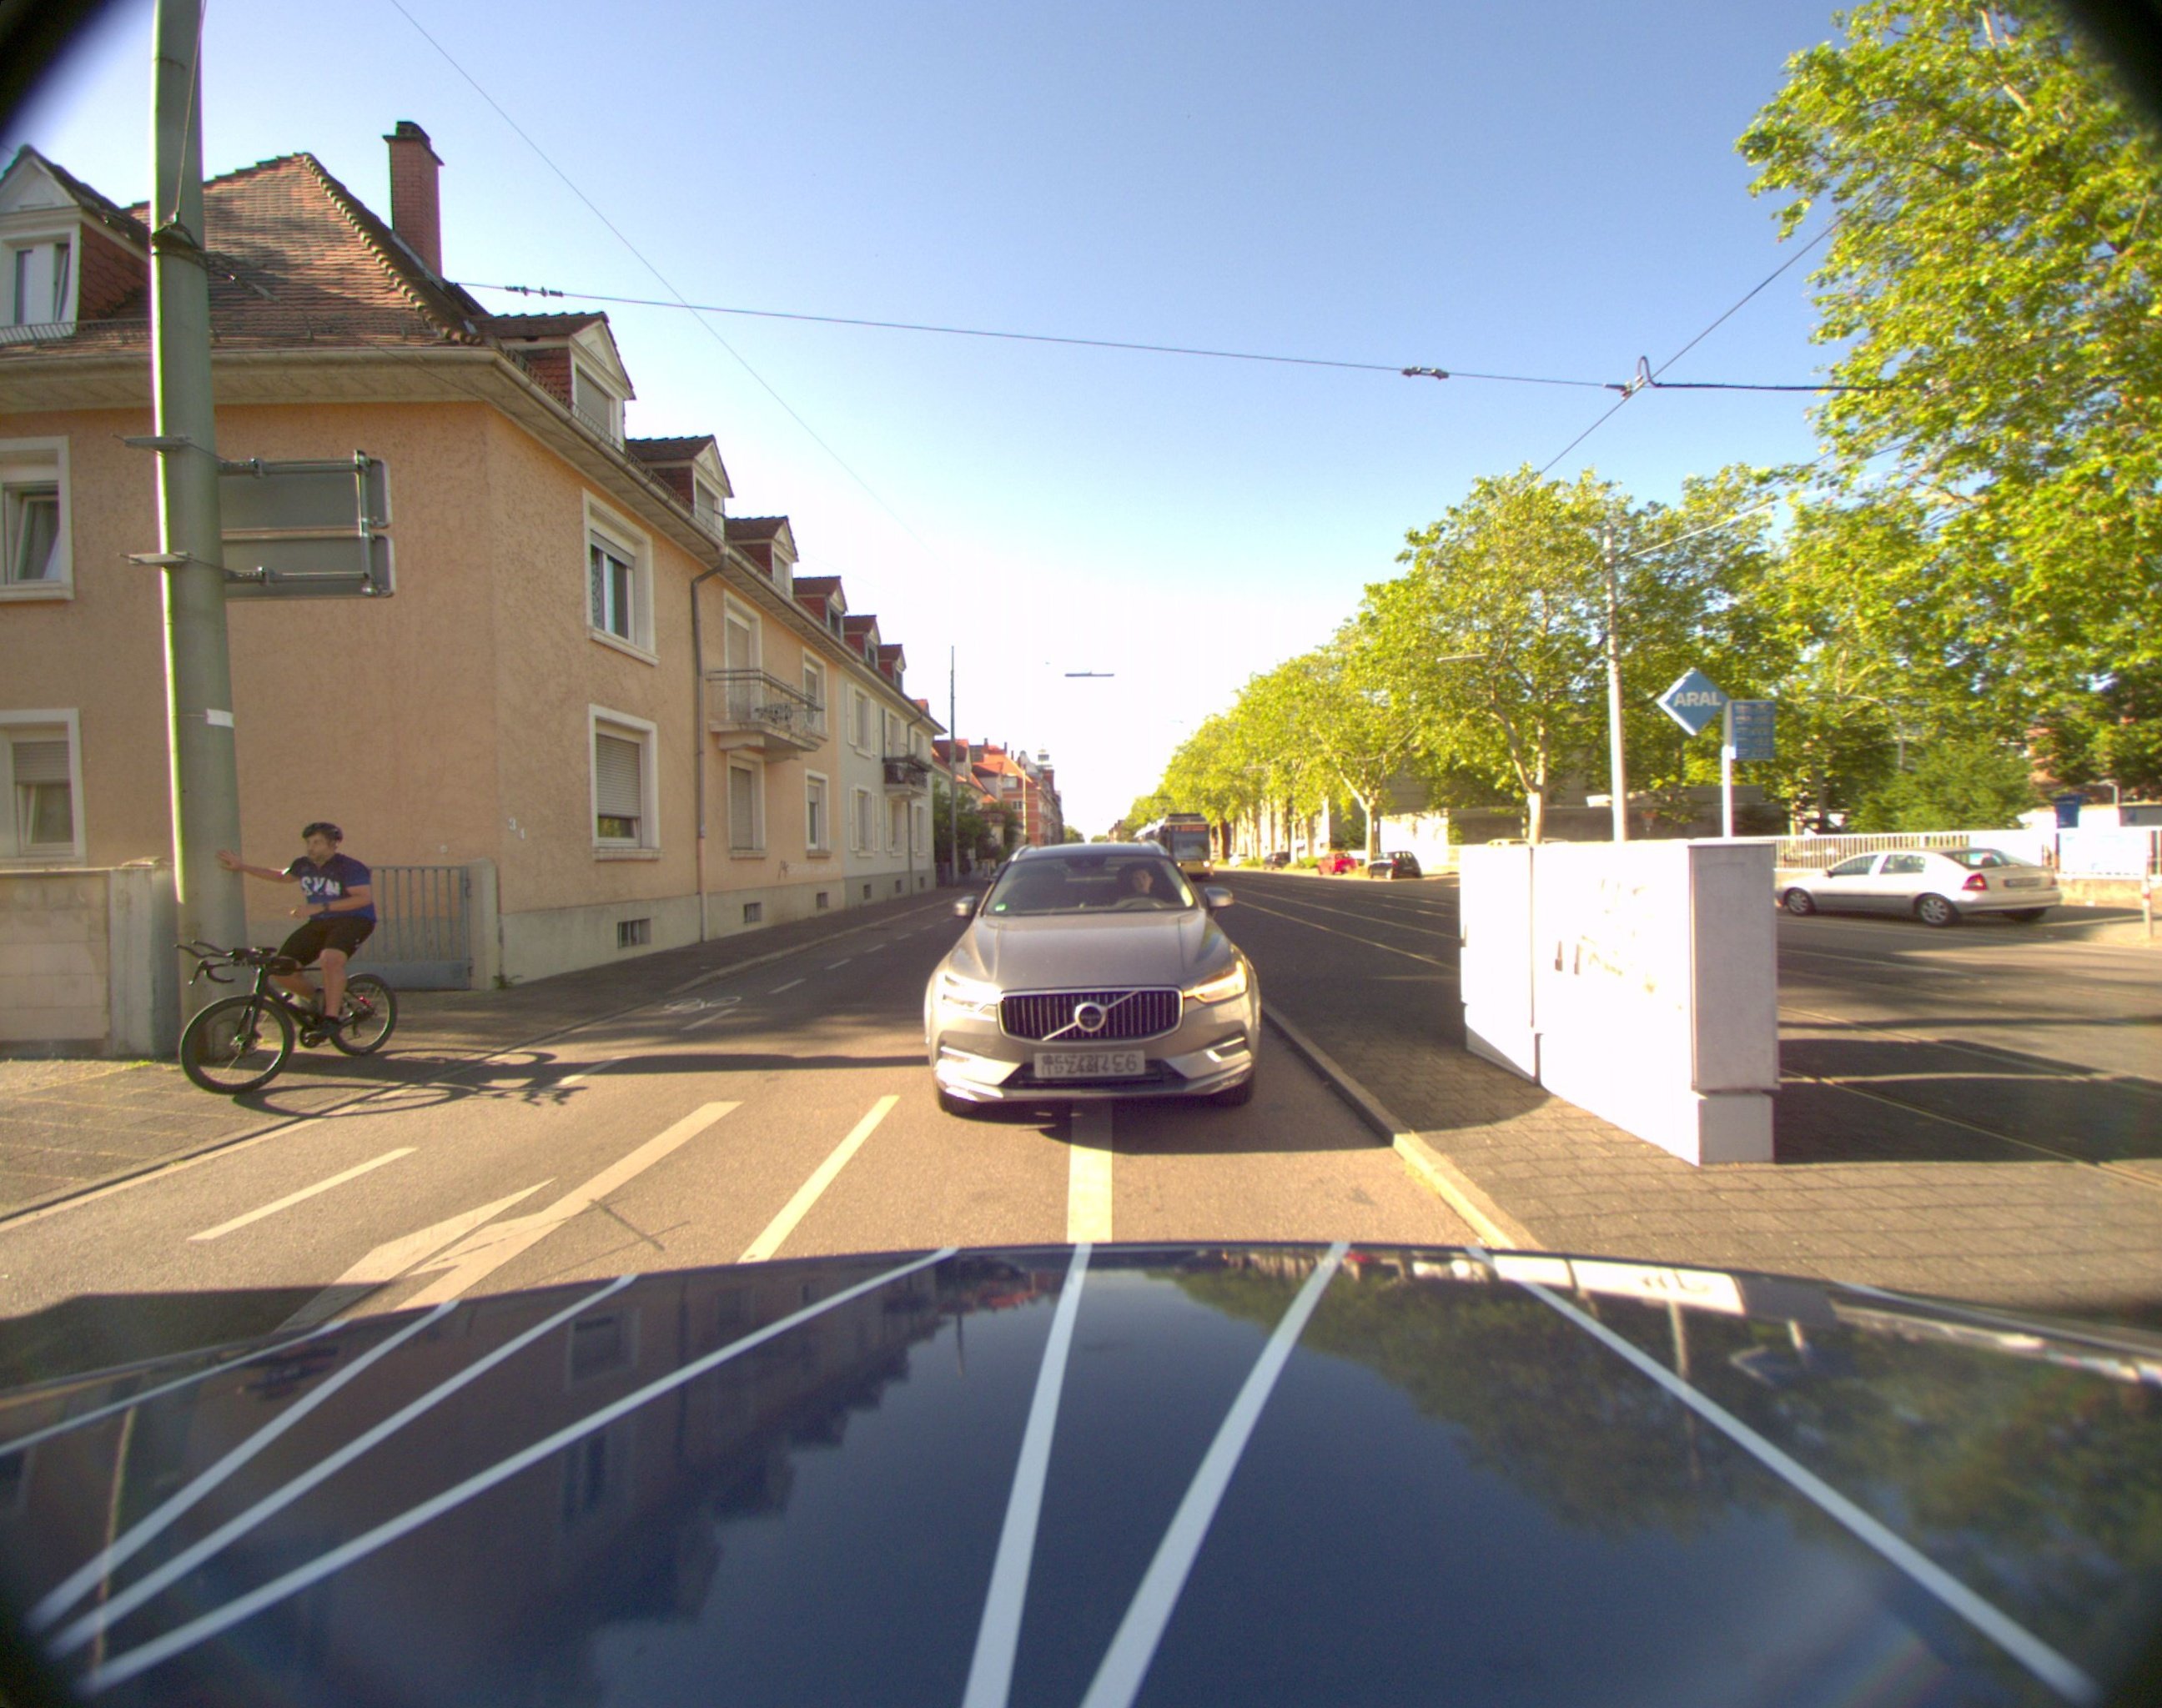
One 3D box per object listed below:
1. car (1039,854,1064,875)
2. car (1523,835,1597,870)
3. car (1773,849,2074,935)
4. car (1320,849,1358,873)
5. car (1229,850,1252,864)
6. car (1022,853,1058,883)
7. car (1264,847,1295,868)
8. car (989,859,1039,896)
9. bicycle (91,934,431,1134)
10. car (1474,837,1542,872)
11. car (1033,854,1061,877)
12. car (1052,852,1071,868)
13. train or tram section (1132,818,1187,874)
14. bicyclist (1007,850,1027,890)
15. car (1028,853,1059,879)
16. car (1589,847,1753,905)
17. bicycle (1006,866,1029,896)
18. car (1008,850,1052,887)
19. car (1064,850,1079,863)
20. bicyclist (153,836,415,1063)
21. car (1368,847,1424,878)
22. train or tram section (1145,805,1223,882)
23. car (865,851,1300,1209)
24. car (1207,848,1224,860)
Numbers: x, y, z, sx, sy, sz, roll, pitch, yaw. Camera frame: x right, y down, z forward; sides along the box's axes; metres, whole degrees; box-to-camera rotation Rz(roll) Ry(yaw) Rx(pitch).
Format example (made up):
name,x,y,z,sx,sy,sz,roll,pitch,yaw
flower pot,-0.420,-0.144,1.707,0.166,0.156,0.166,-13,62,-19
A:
name,x,y,z,sx,sy,sz,roll,pitch,yaw
car,-2.540,0.870,67.077,1.793,1.673,3.814,-3,0,2
car,23.889,-0.073,38.026,1.599,1.583,3.304,-2,0,1
car,16.233,0.646,14.982,1.695,1.395,3.813,-3,0,1
car,16.887,0.444,49.867,1.599,1.498,2.622,-3,0,1
car,17.476,0.305,83.544,1.695,1.440,3.749,-3,0,1
car,-2.575,0.862,48.487,1.793,1.673,3.814,-3,0,2
car,17.149,0.285,65.890,1.695,1.648,3.749,-3,0,1
car,-3.214,1.091,37.049,1.695,1.571,3.815,-3,0,5
bicycle,-6.017,1.251,5.759,0.592,1.062,1.775,4,0,1
car,21.556,0.022,38.474,1.599,1.606,3.304,-2,0,1
car,-2.709,0.896,61.032,1.793,1.673,3.814,-3,0,2
car,-2.138,0.647,85.371,1.793,1.673,3.814,-3,0,2
train or tram section,5.557,-0.550,55.746,2.717,3.643,12.653,-1,0,0
bicyclist,-2.606,0.644,30.984,0.685,1.611,0.855,-2,1,1
car,-2.622,0.844,54.007,1.793,1.673,3.814,-3,0,2
car,16.419,0.566,21.417,1.695,1.395,3.749,-3,0,1
bicycle,-2.585,1.094,31.083,0.685,1.098,1.806,-2,1,1
car,-2.815,0.749,42.822,1.793,1.828,5.149,-3,0,2
car,-1.279,0.380,107.105,1.793,1.673,3.814,-3,0,2
bicyclist,-6.209,0.699,5.991,1.051,1.599,0.885,4,0,1
car,16.894,0.435,40.896,1.599,1.498,3.304,-3,0,1
train or tram section,5.500,-0.524,43.056,2.717,3.643,12.653,-1,0,0
car,0.037,0.831,5.755,1.998,1.628,4.306,-2,0,1
car,17.807,0.041,100.715,1.695,1.440,3.749,-3,0,1
